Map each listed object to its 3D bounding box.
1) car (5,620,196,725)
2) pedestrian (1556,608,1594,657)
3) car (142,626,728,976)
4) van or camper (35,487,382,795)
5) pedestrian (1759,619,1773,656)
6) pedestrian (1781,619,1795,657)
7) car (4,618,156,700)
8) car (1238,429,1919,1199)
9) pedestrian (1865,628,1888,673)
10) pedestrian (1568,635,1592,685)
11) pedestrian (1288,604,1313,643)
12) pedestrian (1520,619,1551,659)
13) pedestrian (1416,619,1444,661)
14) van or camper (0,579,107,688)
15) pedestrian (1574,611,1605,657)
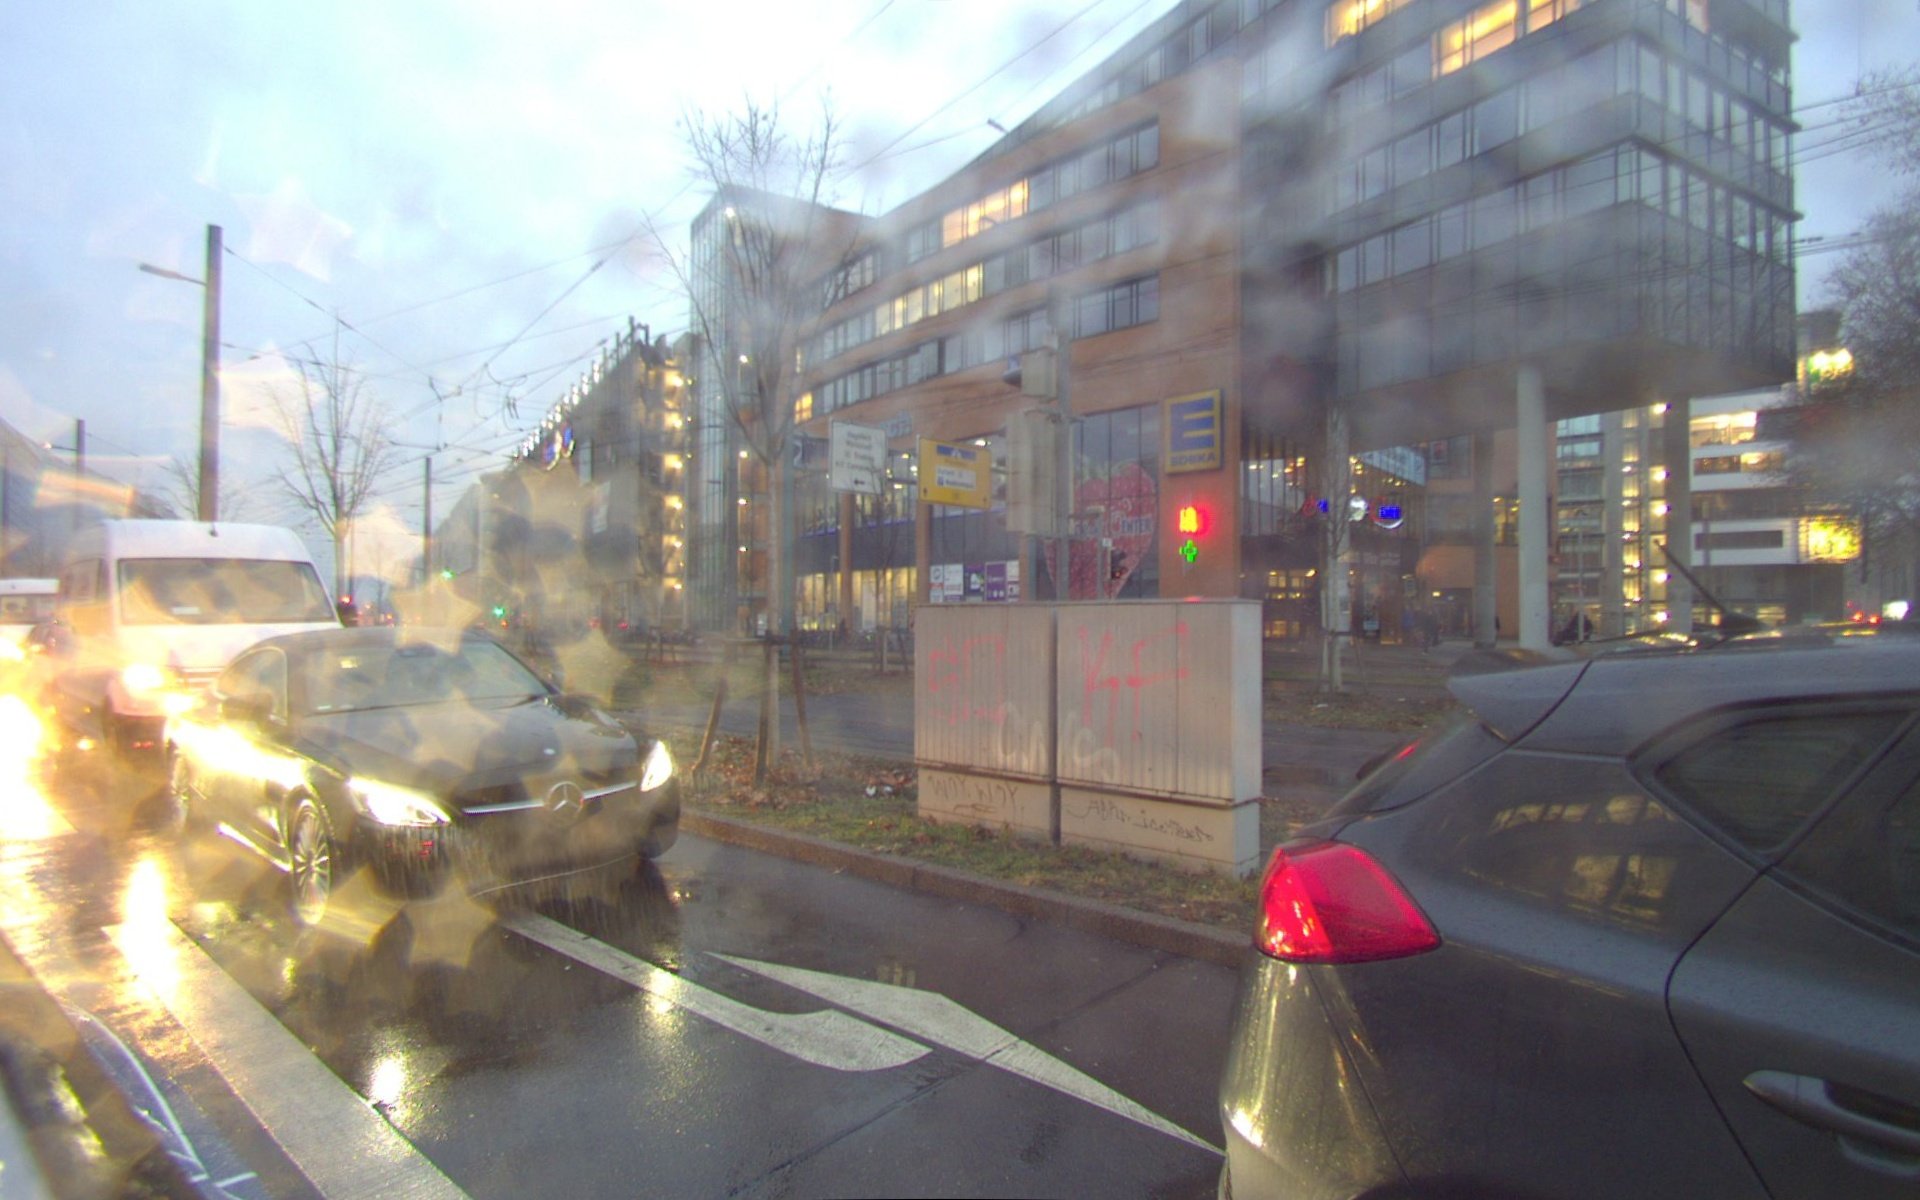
[{"bbox_3d":[-13.619,1.043,15.954,3.951,1.409,1.800,-1,0,42],"label":"car"},{"bbox_3d":[23.414,1.241,38.532,0.762,1.860,0.925,1,-2,-28],"label":"pedestrian"},{"bbox_3d":[-3.406,0.858,6.146,4.224,1.342,1.800,-1,0,42],"label":"car"},{"bbox_3d":[-8.537,0.359,11.207,5.885,2.567,2.034,-1,0,43],"label":"van or camper"},{"bbox_3d":[38.099,1.767,47.832,0.446,1.764,0.645,-1,-2,41],"label":"pedestrian"},{"bbox_3d":[38.789,1.755,47.422,0.446,1.764,0.645,-1,-2,41],"label":"pedestrian"},{"bbox_3d":[-17.387,1.092,19.943,3.951,1.409,1.800,-1,0,42],"label":"car"},{"bbox_3d":[2.378,0.609,0.931,3.760,1.585,1.662,-1,-2,42],"label":"car"},{"bbox_3d":[35.197,1.937,38.860,0.560,1.696,0.590,-1,-2,37],"label":"pedestrian"},{"bbox_3d":[16.275,1.564,26.554,0.495,1.274,0.440,-1,0,37],"label":"pedestrian"},{"bbox_3d":[13.591,0.942,40.420,0.642,1.515,0.695,2,-3,-40],"label":"pedestrian"},{"bbox_3d":[24.871,1.672,43.721,0.910,1.721,0.696,1,-2,-20],"label":"pedestrian"},{"bbox_3d":[17.296,1.481,37.232,0.642,1.515,0.695,2,-3,-40],"label":"pedestrian"},{"bbox_3d":[-22.262,0.759,24.418,2.155,2.370,5.653,-1,0,-44],"label":"van or camper"},{"bbox_3d":[24.190,1.307,38.882,0.715,1.721,0.696,1,-2,-27],"label":"pedestrian"}]
